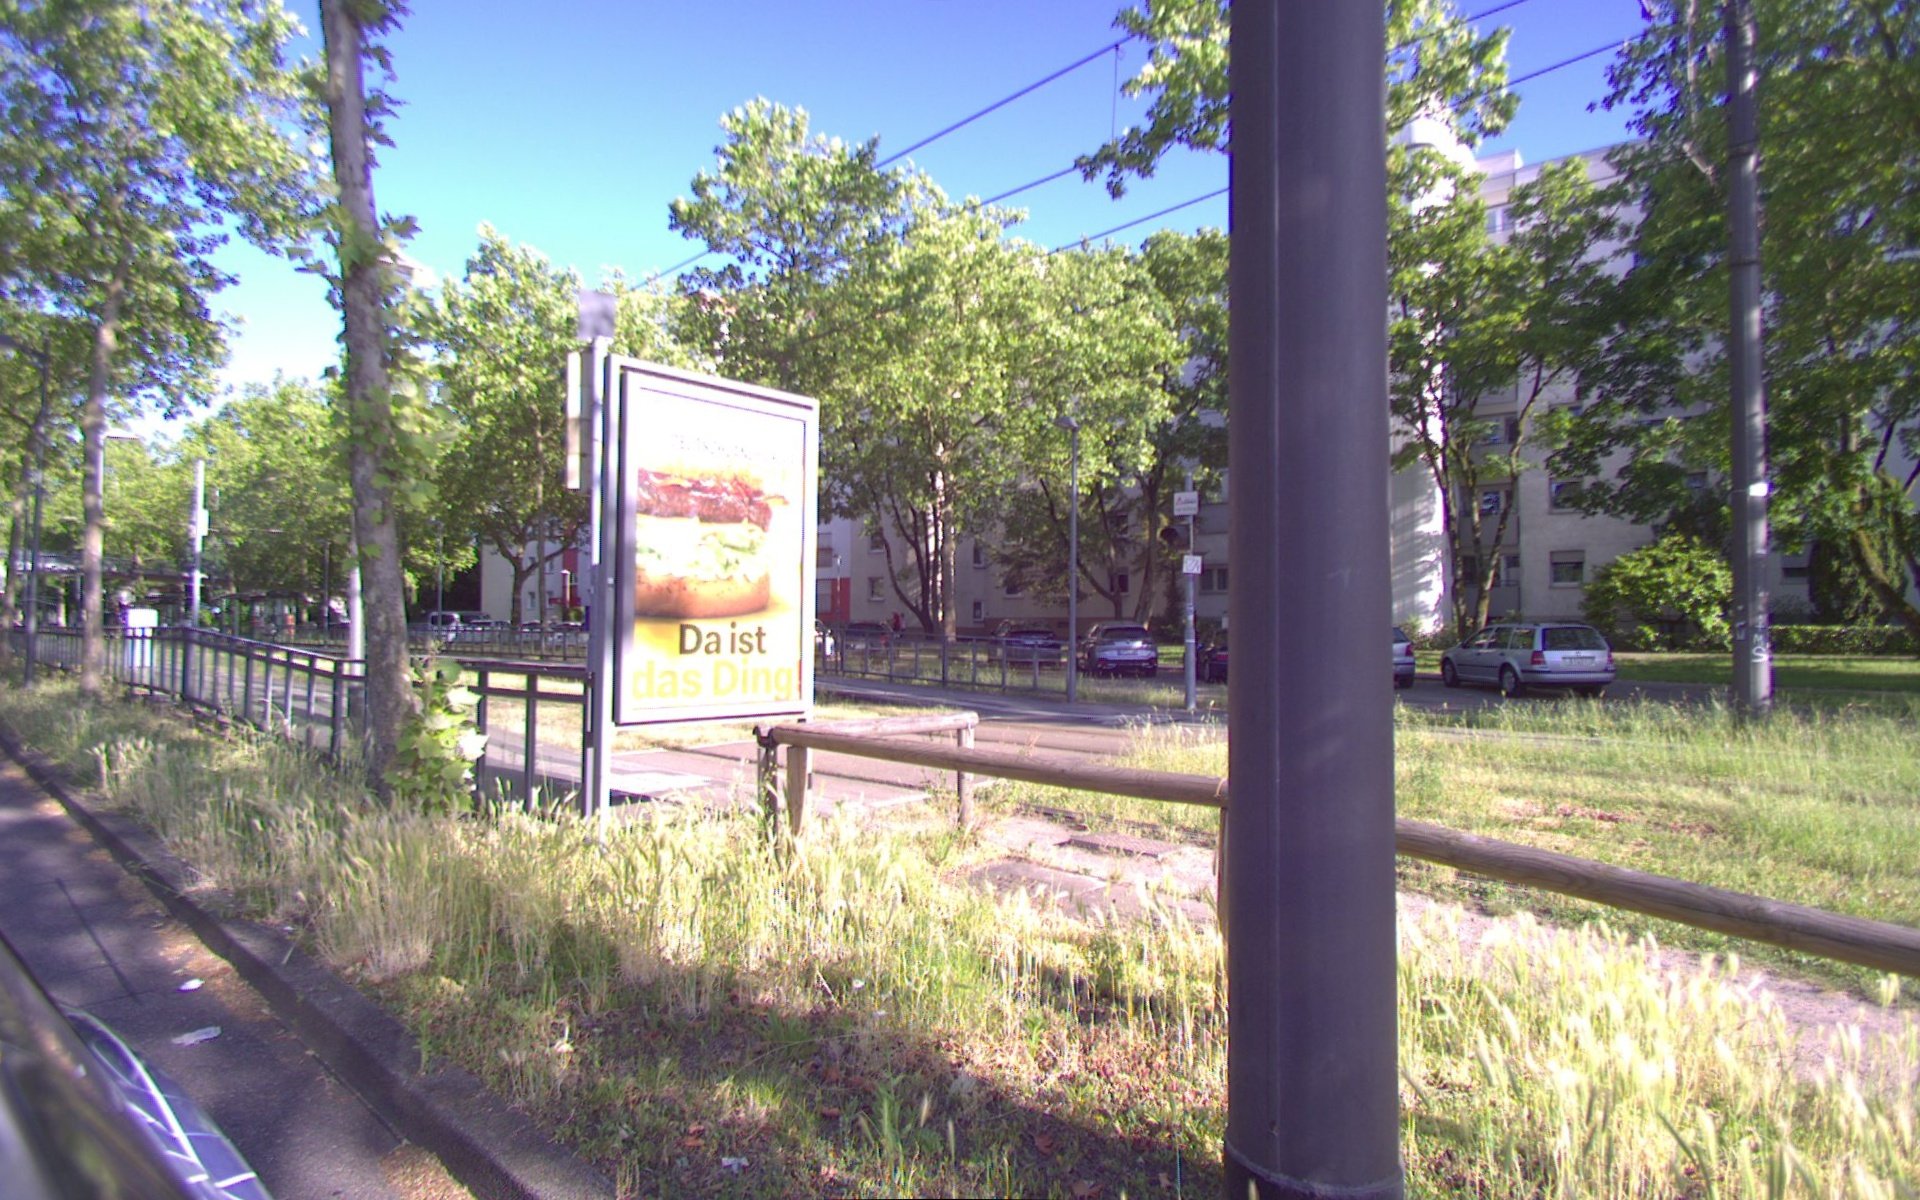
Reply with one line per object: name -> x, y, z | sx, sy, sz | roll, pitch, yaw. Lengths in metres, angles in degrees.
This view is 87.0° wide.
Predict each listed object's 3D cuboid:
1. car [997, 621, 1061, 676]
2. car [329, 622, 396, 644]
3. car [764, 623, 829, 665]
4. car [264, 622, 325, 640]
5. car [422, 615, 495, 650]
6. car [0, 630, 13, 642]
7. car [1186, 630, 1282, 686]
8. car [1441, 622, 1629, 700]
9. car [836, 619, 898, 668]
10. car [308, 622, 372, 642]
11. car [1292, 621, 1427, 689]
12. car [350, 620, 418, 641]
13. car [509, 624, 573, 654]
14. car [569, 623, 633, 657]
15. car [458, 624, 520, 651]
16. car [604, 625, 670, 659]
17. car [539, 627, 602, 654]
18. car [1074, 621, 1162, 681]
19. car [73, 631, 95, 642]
car -> 1.937, 1.361, 29.445 | 1.664, 1.482, 3.680 | 0, -1, 1
car -> -40.280, 2.193, 68.391 | 1.898, 1.386, 4.365 | 0, -1, 1
car -> -5.906, 1.564, 36.917 | 1.664, 1.444, 3.679 | 0, -1, 2
car -> -52.143, 2.392, 79.364 | 1.898, 1.386, 4.365 | 0, -1, 1
car -> -28.324, 1.816, 57.327 | 1.898, 1.898, 4.365 | 0, -1, 1
car -> -134.619, 5.048, 142.180 | 4.366, 1.586, 1.898 | -1, -2, 42
car -> 6.733, 1.394, 25.206 | 1.602, 1.256, 3.677 | 0, -1, 4
car -> 11.551, 1.171, 20.628 | 1.707, 1.444, 3.681 | 0, -1, 1
car -> -3.104, 1.451, 34.467 | 1.664, 1.579, 3.679 | 0, -1, 2
car -> -44.641, 2.270, 72.983 | 1.898, 1.386, 4.365 | 0, -1, 1
car -> 9.156, 1.213, 23.527 | 1.679, 1.444, 3.681 | 0, -1, 1
car -> -37.866, 1.985, 66.651 | 1.898, 1.386, 4.365 | 0, -1, 1
car -> -21.120, 1.950, 51.133 | 1.627, 1.460, 3.680 | 0, -1, 1
car -> -16.679, 1.834, 47.135 | 1.627, 1.460, 3.680 | 0, -1, 1
car -> -25.795, 2.025, 55.518 | 1.627, 1.407, 3.680 | 0, -1, 1
car -> -14.080, 1.811, 44.280 | 1.627, 1.403, 3.679 | 0, -1, 2
car -> -19.043, 1.971, 49.665 | 1.627, 1.251, 3.680 | 0, -1, 1
car -> 4.210, 1.339, 27.492 | 1.894, 1.507, 3.680 | 0, -1, 2
car -> -109.061, 4.504, 126.044 | 3.294, 1.370, 1.651 | -1, -2, 41
